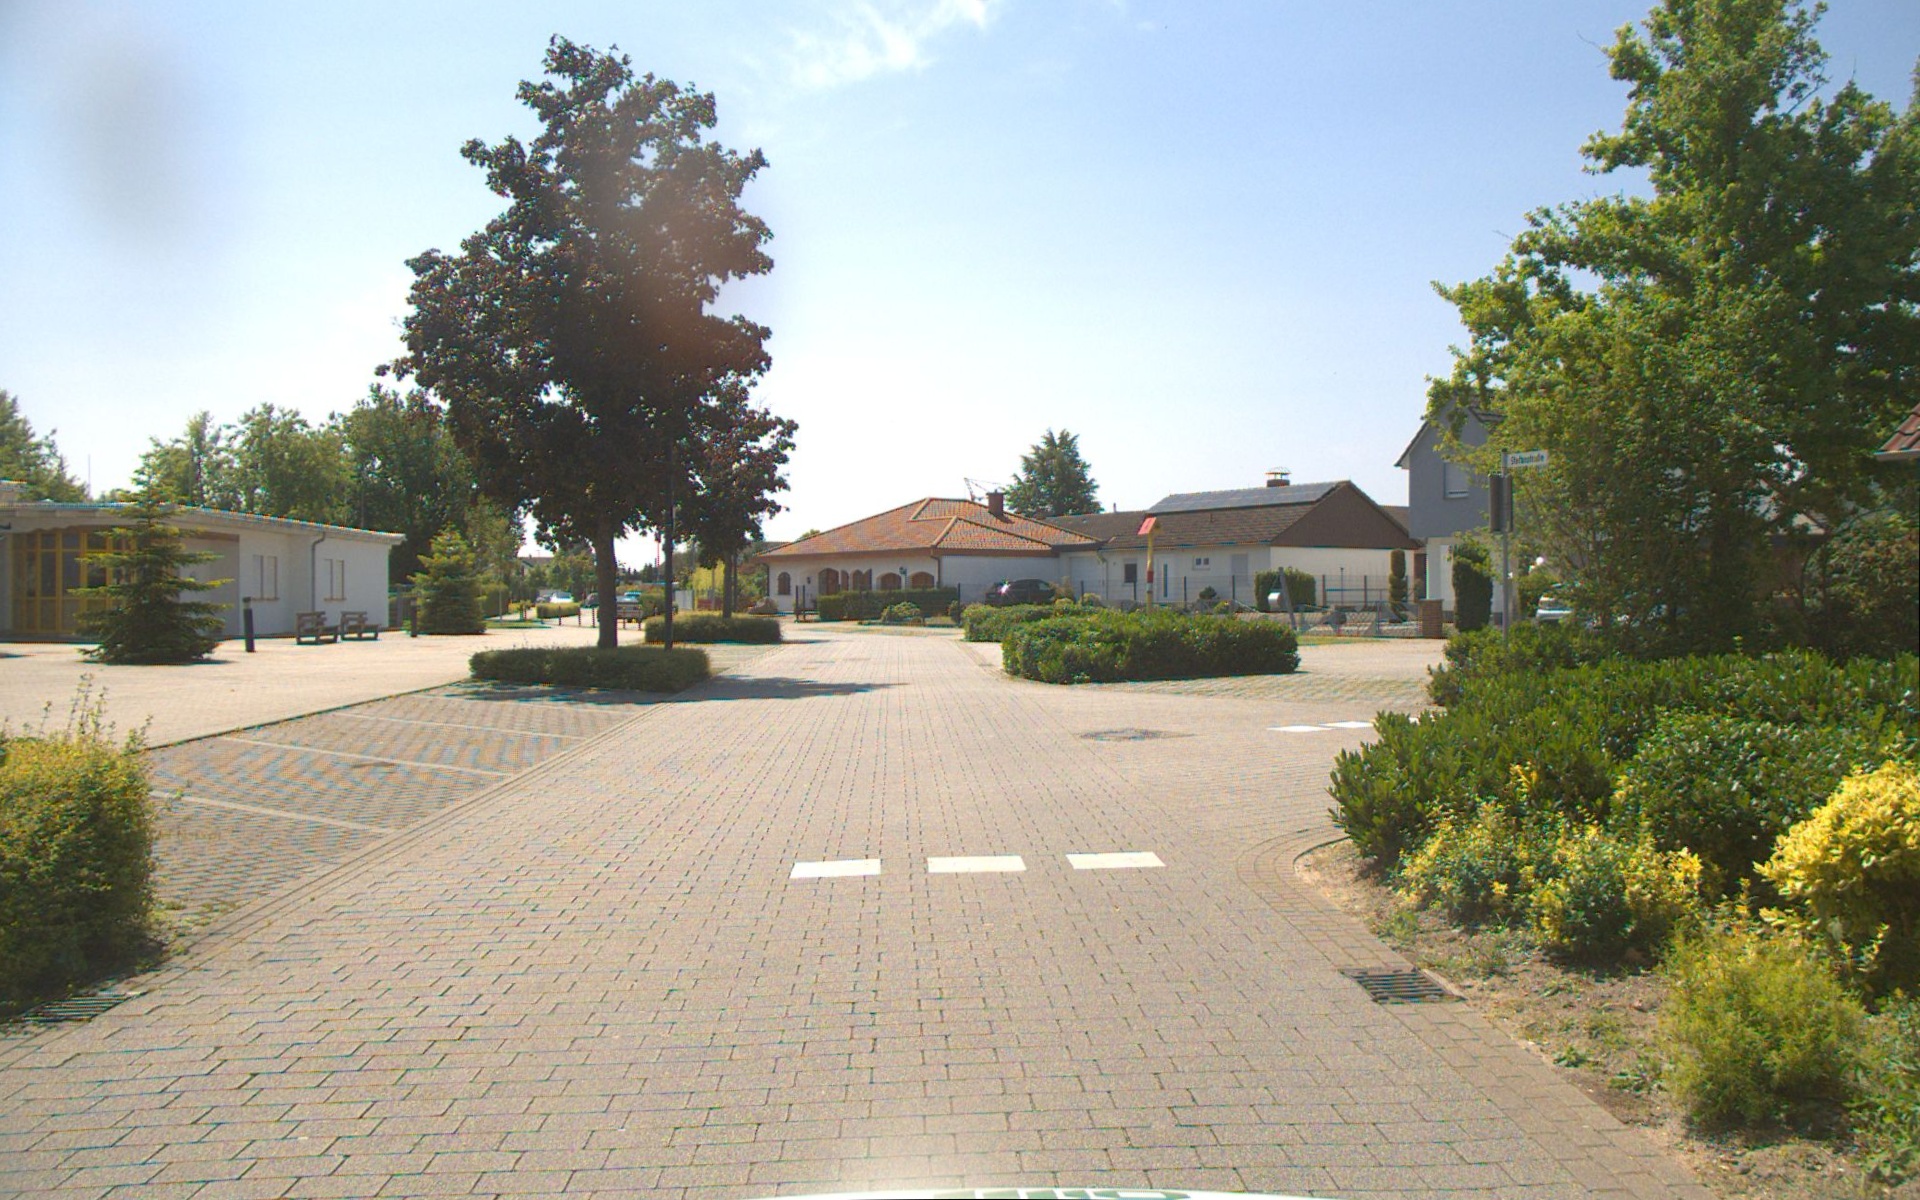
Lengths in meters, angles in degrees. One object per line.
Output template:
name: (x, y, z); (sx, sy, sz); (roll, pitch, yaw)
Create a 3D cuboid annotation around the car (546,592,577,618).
car: (-25.856, 0.292, 107.399); (1.584, 1.655, 3.550); (-1, 0, -8)

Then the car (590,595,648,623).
car: (-16.469, 0.406, 79.733); (1.599, 1.311, 3.516); (-1, 0, -33)

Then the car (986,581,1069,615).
car: (3.188, -0.113, 77.532); (1.822, 1.569, 3.811); (0, 0, 43)

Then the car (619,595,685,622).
car: (-15.593, 0.420, 83.534); (1.975, 1.310, 3.955); (-1, 0, -33)
